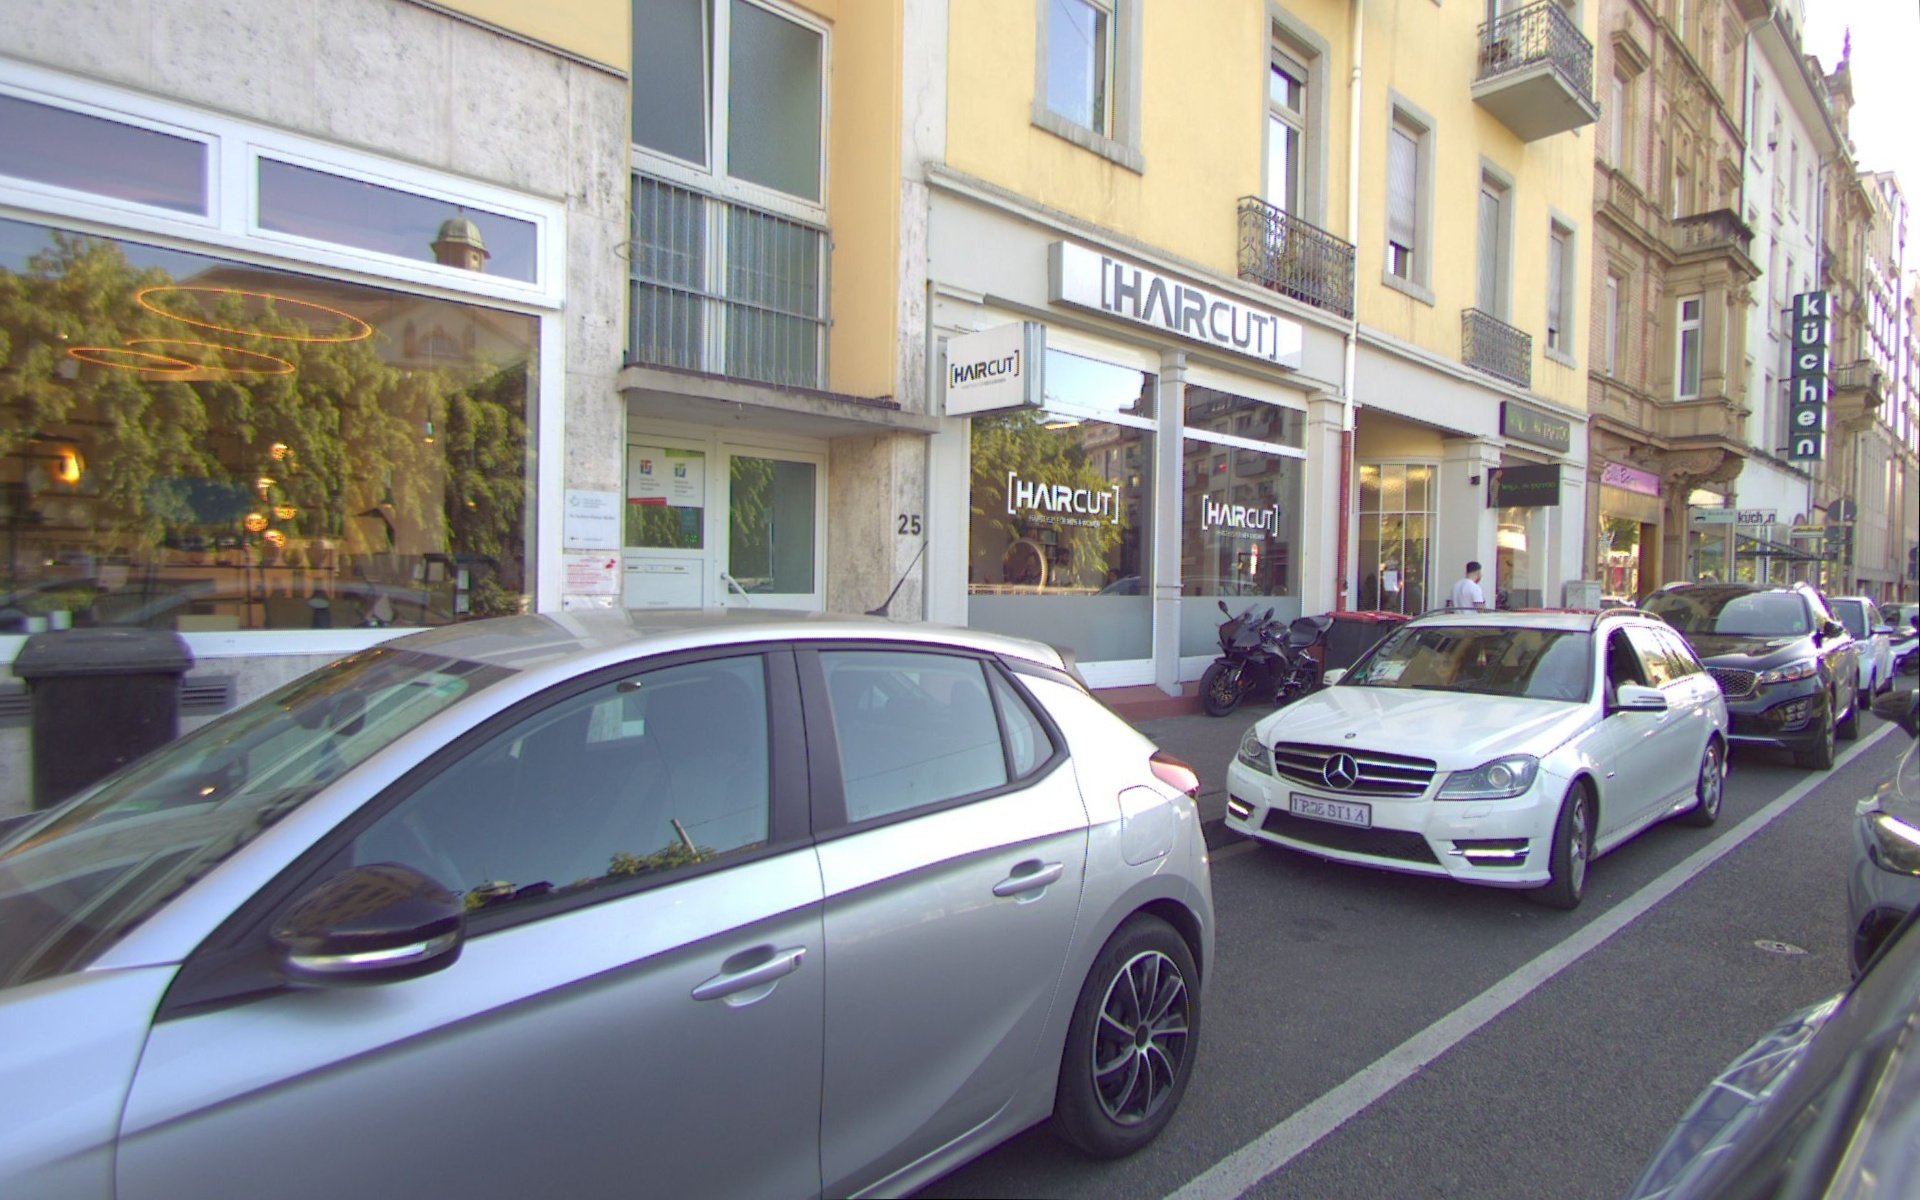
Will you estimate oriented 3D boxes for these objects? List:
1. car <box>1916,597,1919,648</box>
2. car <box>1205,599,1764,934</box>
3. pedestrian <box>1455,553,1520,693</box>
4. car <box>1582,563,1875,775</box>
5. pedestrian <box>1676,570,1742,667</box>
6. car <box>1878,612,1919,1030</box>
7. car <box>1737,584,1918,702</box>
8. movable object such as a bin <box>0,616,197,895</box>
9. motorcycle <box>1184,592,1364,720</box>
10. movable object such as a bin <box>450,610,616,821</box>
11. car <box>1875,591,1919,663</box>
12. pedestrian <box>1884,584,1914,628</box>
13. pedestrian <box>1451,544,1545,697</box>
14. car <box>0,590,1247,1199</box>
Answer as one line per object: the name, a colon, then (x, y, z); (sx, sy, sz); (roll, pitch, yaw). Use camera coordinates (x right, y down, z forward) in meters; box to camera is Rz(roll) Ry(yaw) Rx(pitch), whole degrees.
car: (26.597, 0.574, 26.923); (3.306, 1.334, 1.459); (-1, 0, -42)
car: (3.521, 0.708, 6.383); (4.301, 1.389, 1.671); (-1, 0, -41)
pedestrian: (7.227, 0.301, 13.869); (0.627, 1.859, 0.760); (0, 0, 41)
car: (7.997, 0.530, 10.362); (4.338, 1.711, 1.802); (-1, 0, -45)
pedestrian: (13.949, 0.331, 18.845); (0.806, 1.741, 0.836); (0, 0, -42)
car: (5.386, 0.750, 4.371); (4.397, 1.385, 1.767); (-1, 1, -43)
car: (12.759, 0.547, 14.848); (2.945, 1.542, 1.582); (-1, 0, -41)
movable object such as a bin: (-3.686, 0.599, 4.318); (0.639, 1.036, 0.737); (0, 0, -41)
motorcycle: (3.289, 0.523, 10.499); (2.073, 1.144, 0.735); (-1, 5, -41)
movable object such as a bin: (-2.339, 0.580, 5.532); (0.639, 1.036, 0.737); (0, 0, -41)
car: (21.885, 0.566, 22.805); (3.736, 1.509, 1.691); (-1, 0, -45)
pedestrian: (38.491, 0.252, 41.487); (0.809, 1.782, 0.825); (0, 0, -42)
pedestrian: (6.852, 0.253, 12.925); (0.961, 1.900, 0.532); (0, 0, 18)
car: (-1.018, 0.715, 2.302); (3.625, 1.455, 1.585); (-1, 0, -43)
